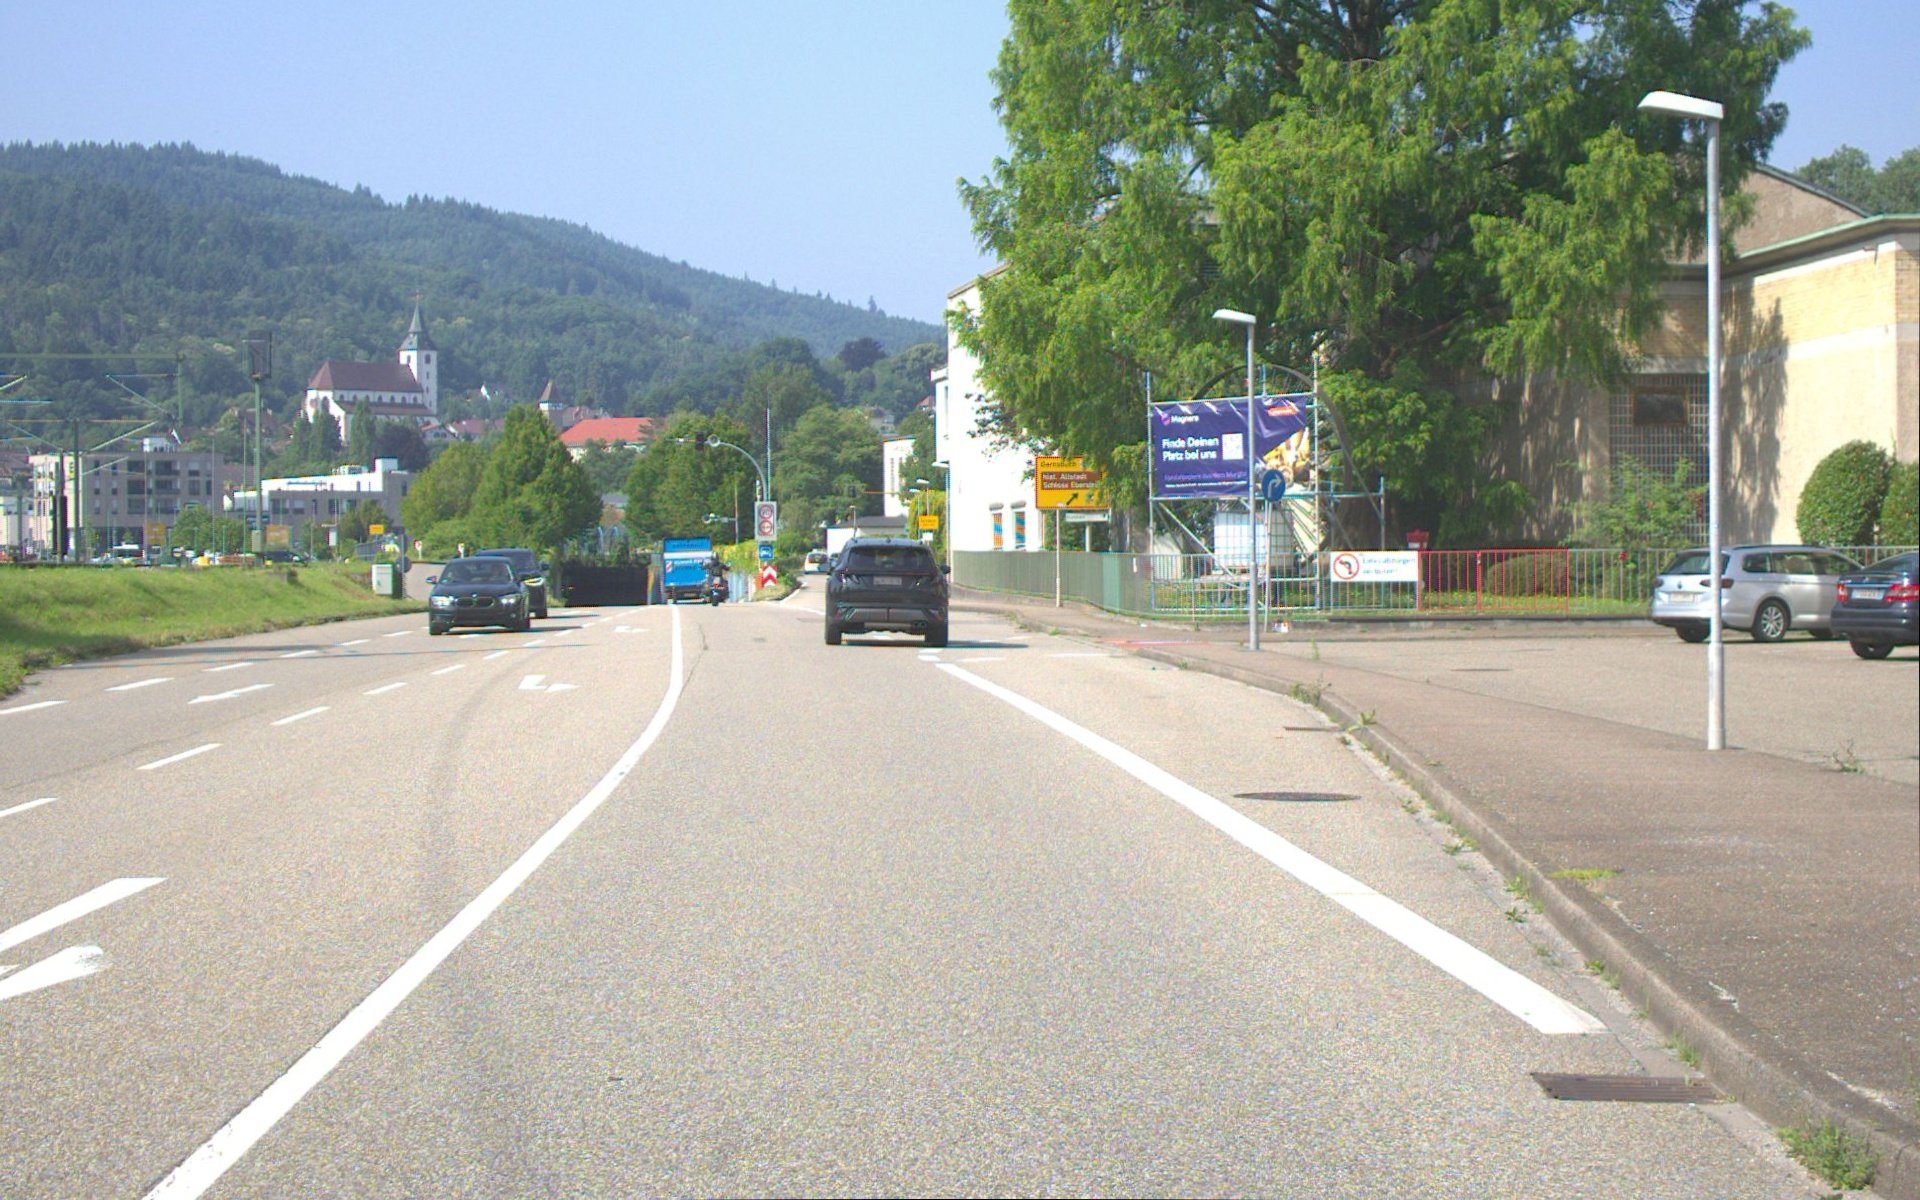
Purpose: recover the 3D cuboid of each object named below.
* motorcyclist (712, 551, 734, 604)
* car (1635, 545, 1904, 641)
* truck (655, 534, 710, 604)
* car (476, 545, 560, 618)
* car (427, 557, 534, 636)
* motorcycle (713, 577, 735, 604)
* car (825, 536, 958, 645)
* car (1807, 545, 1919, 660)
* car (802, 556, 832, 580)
[{"bbox_3d":[-6.854,-0.651,99.274,0.606,1.515,0.863,0,1,-2],"label":"motorcyclist"},{"bbox_3d":[12.266,-0.133,52.045,3.987,1.396,1.664,-1,1,-33],"label":"car"},{"bbox_3d":[-12.139,-1.398,150.347,2.312,2.960,5.967,0,1,-5],"label":"truck"},{"bbox_3d":[-10.090,-0.443,78.696,1.755,1.634,4.001,0,1,-5],"label":"car"},{"bbox_3d":[-8.990,-0.082,64.672,1.755,1.424,4.001,0,1,-5],"label":"car"},{"bbox_3d":[-6.819,-0.287,99.276,0.606,0.751,1.415,0,1,-2],"label":"motorcycle"},{"bbox_3d":[-1.100,-0.177,53.605,1.919,1.634,4.001,0,1,-3],"label":"car"},{"bbox_3d":[12.854,0.002,43.893,3.987,1.396,1.664,-1,1,-33],"label":"car"},{"bbox_3d":[-9.138,-2.047,220.020,1.767,1.481,4.000,1,0,-1],"label":"car"}]
